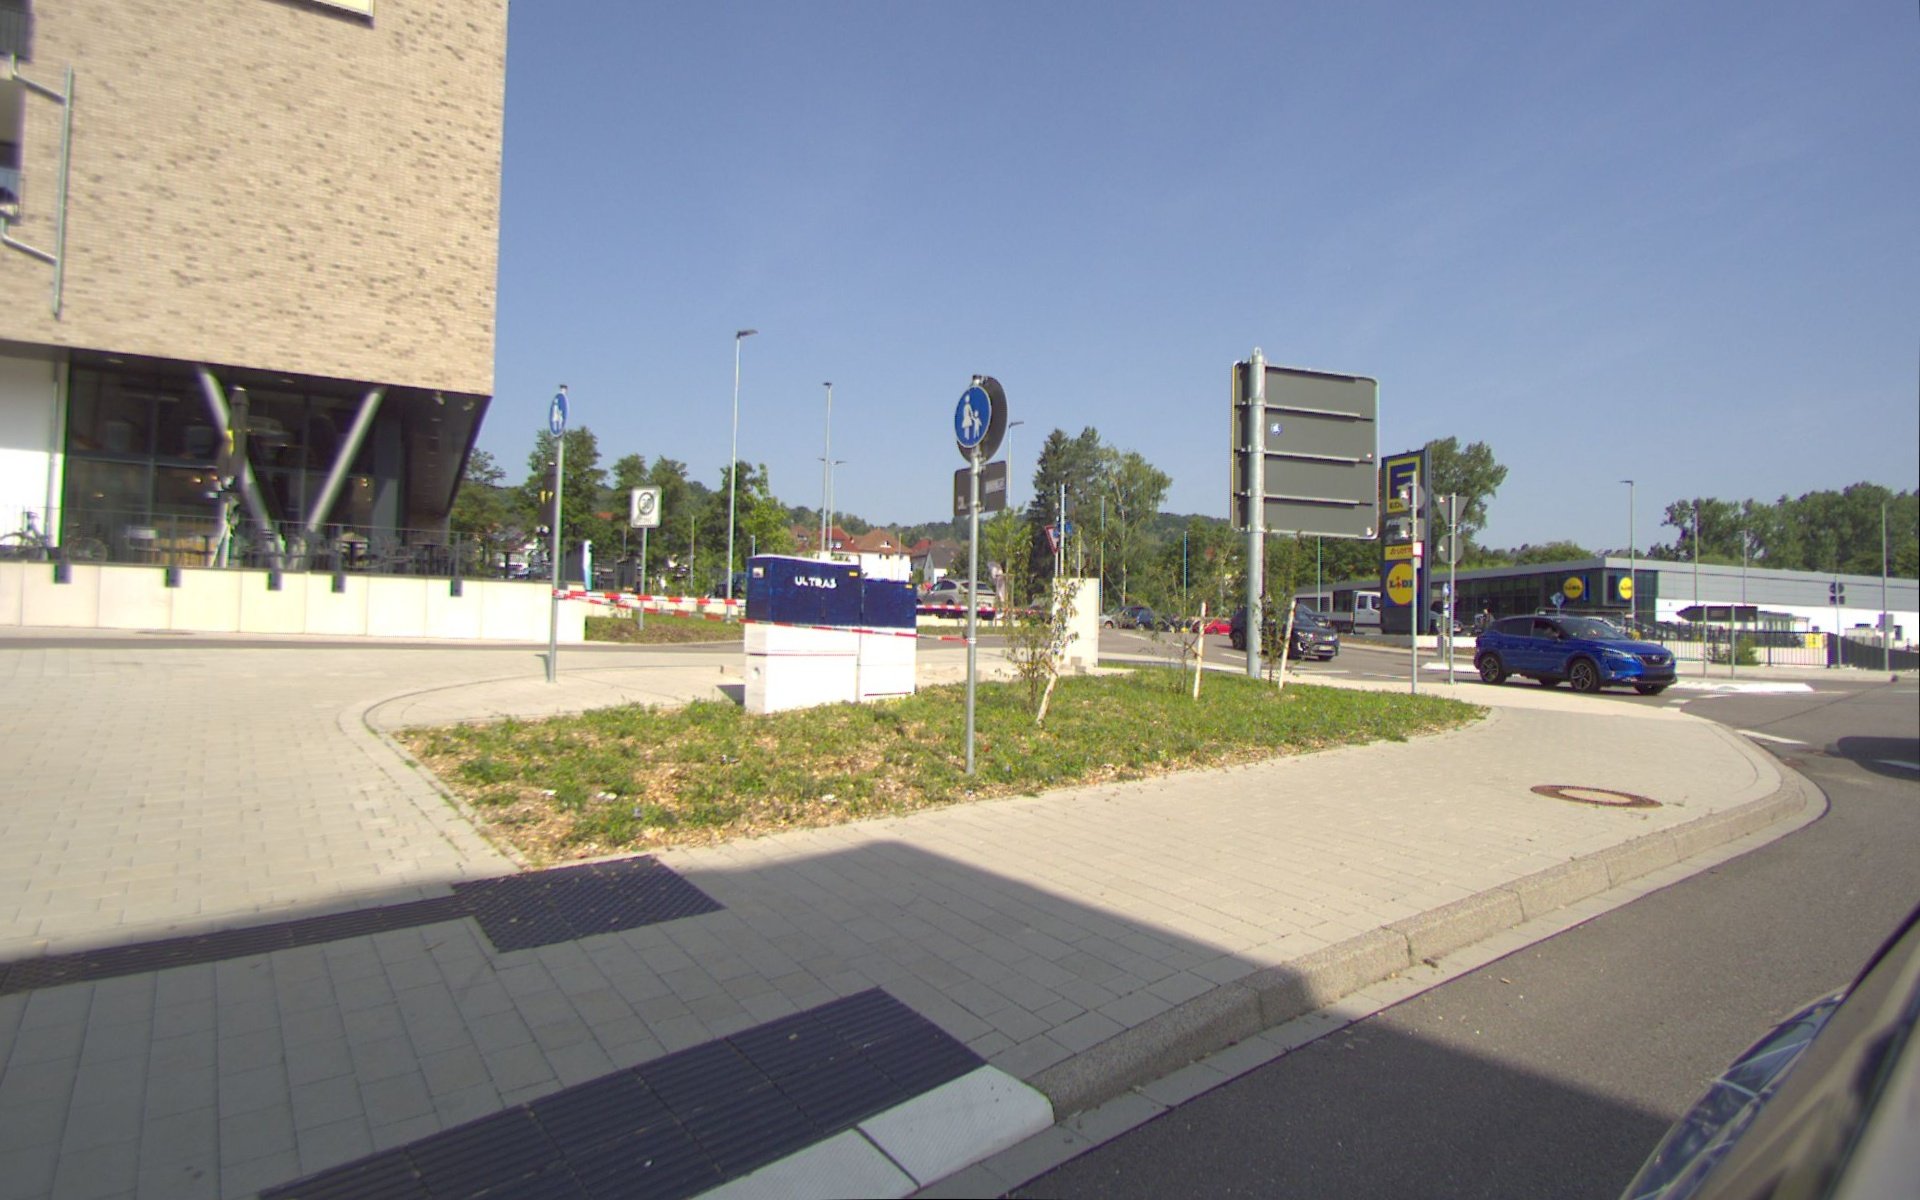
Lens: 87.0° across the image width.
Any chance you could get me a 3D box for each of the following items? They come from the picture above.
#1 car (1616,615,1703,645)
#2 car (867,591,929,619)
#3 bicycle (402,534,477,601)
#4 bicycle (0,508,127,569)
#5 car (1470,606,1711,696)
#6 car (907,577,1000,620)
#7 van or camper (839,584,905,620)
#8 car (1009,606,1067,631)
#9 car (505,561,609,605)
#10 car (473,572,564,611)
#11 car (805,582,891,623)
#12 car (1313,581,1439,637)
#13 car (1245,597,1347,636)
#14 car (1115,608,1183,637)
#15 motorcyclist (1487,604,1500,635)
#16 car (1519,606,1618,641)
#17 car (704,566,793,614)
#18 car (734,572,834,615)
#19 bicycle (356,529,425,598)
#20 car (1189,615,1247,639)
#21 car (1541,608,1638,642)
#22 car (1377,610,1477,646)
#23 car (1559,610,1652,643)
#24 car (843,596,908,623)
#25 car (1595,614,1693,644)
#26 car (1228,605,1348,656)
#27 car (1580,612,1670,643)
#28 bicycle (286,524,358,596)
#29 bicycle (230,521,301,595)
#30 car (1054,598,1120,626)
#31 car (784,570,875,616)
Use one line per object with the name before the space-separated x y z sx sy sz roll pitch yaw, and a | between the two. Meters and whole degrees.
car | 41.919 1.838 60.707 1.675 1.595 3.988 4 -6 -44
car | -4.920 0.412 80.592 4.552 2.002 2.001 2 -5 -27
bicycle | -10.737 -0.636 20.827 0.842 1.160 2.240 4 -6 -40
bicycle | -18.413 -1.245 20.536 2.199 1.059 0.694 2 -5 -29
car | 13.510 1.005 22.032 1.847 1.684 4.362 0 0 -15
car | -0.351 -0.098 42.118 1.820 1.575 4.829 5 -1 -27
van or camper | -7.586 0.214 87.625 5.177 2.886 2.297 2 -5 -27
car | 4.738 1.149 61.091 3.301 1.392 1.525 3 -4 -35
car | -14.684 -0.589 36.909 3.268 1.369 1.490 3 -5 -35
car | -17.802 -0.305 40.829 3.264 1.369 1.492 2 -5 -27
car | -6.408 0.201 58.008 4.561 2.041 1.997 3 -5 -38
car | 20.720 0.536 50.796 2.017 2.415 6.099 2 -5 -24
car | 15.944 0.828 48.346 1.882 1.551 4.866 2 -4 -22
car | 11.401 1.361 61.122 3.709 1.595 1.765 2 -5 -27
motorcyclist | 27.719 1.015 52.552 0.509 1.563 0.577 -2 -5 25
car | 31.421 1.261 52.350 1.748 1.595 4.013 4 -6 -41
car | -7.937 -0.380 37.670 1.820 1.575 4.465 5 -1 -30
car | -8.782 -0.299 50.531 4.485 1.905 2.002 2 -3 -29
bicycle | -11.465 -0.696 20.349 0.752 1.160 2.240 4 -6 -40
car | 18.280 1.918 71.799 3.709 1.595 1.765 2 -5 -27
car | 33.402 1.360 53.785 1.748 1.595 4.013 4 -6 -41
car | 23.523 1.461 51.200 1.795 1.624 4.482 2 -5 -24
car | 35.467 1.491 55.673 1.675 1.595 3.988 4 -6 -44
car | -4.672 0.565 56.112 3.269 1.369 1.627 2 -4 -36
car | 39.781 1.715 58.936 1.675 1.595 4.403 4 -6 -44
car | 10.628 0.956 33.148 1.609 1.410 4.240 2 1 -16
car | 37.667 1.609 57.385 1.675 1.595 3.988 4 -6 -44
bicycle | -12.491 -0.744 19.786 0.842 1.160 2.240 4 -6 -40
bicycle | -13.320 -0.768 19.377 0.842 1.160 2.240 4 -6 -40
car | 7.382 0.694 58.896 3.556 1.465 1.527 2 -5 -26
car | -5.076 -0.286 38.955 1.820 1.575 4.465 5 -1 -30
